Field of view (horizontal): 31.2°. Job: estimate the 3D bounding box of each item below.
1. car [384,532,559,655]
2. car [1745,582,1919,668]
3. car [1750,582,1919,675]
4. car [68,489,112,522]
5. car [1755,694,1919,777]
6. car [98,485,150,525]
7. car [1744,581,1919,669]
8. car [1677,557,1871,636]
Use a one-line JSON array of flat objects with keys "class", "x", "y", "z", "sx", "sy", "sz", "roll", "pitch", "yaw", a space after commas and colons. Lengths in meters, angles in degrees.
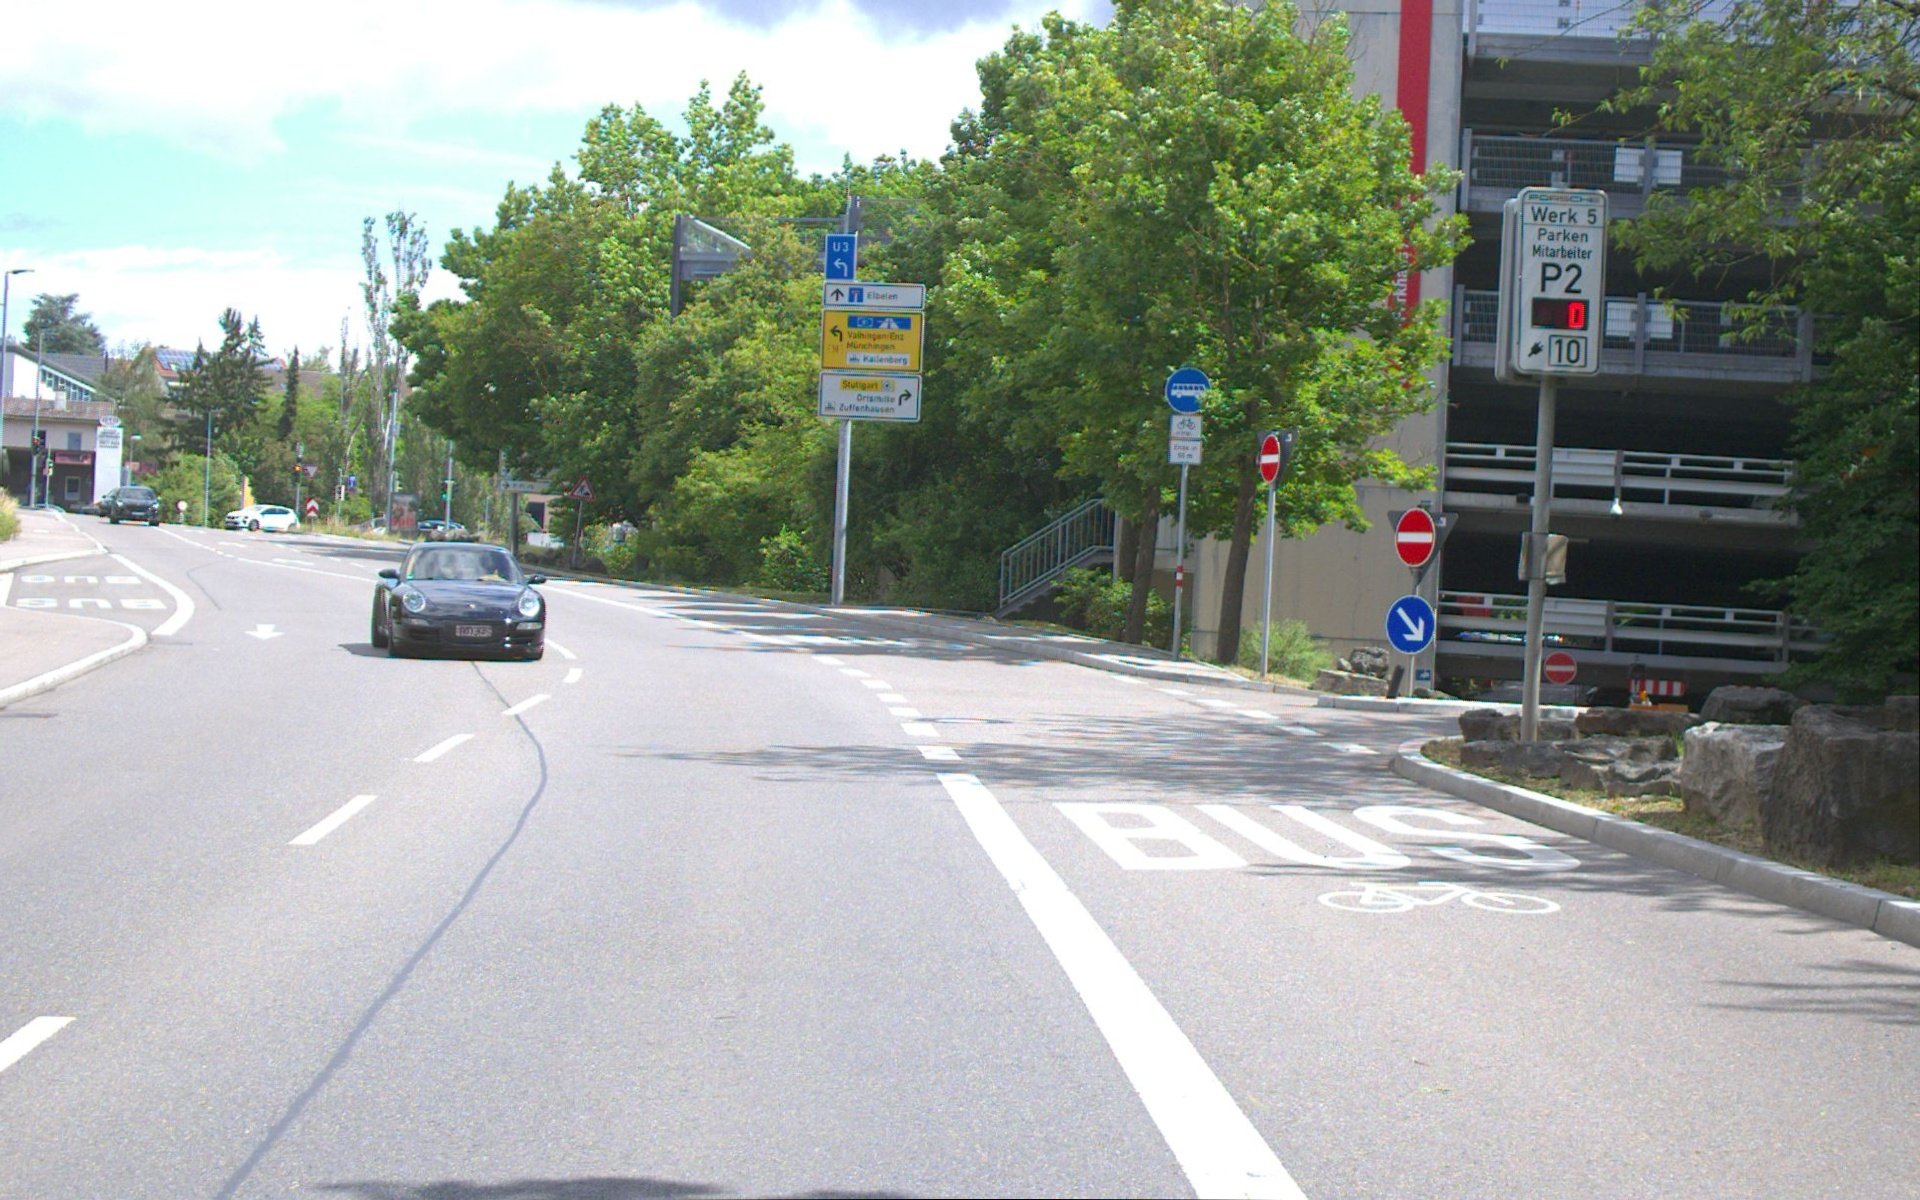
[{"class": "car", "x": -5.612, "y": -0.097, "z": 39.866, "sx": 1.734, "sy": 1.296, "sz": 4.005, "roll": 2, "pitch": 1, "yaw": -5}, {"class": "car", "x": 19.120, "y": 0.532, "z": 73.860, "sx": 4.316, "sy": 1.625, "sz": 1.999, "roll": 3, "pitch": 1, "yaw": 13}, {"class": "car", "x": 17.729, "y": 0.569, "z": 67.302, "sx": 4.316, "sy": 1.625, "sz": 1.999, "roll": 3, "pitch": 1, "yaw": 13}, {"class": "car", "x": -40.649, "y": -4.395, "z": 160.588, "sx": 1.765, "sy": 1.437, "sz": 4.379, "roll": 2, "pitch": 1, "yaw": -17}, {"class": "car", "x": 19.329, "y": 2.927, "z": 73.830, "sx": 4.316, "sy": 1.484, "sz": 1.999, "roll": 3, "pitch": 1, "yaw": 13}, {"class": "car", "x": -34.284, "y": -3.916, "z": 140.885, "sx": 1.822, "sy": 1.552, "sz": 4.631, "roll": 1, "pitch": 2, "yaw": -17}, {"class": "car", "x": 18.655, "y": 0.526, "z": 71.846, "sx": 4.316, "sy": 1.625, "sz": 1.999, "roll": 3, "pitch": 1, "yaw": 13}, {"class": "car", "x": 19.107, "y": -0.090, "z": 80.748, "sx": 4.316, "sy": 1.625, "sz": 1.999, "roll": 3, "pitch": 1, "yaw": 13}]
